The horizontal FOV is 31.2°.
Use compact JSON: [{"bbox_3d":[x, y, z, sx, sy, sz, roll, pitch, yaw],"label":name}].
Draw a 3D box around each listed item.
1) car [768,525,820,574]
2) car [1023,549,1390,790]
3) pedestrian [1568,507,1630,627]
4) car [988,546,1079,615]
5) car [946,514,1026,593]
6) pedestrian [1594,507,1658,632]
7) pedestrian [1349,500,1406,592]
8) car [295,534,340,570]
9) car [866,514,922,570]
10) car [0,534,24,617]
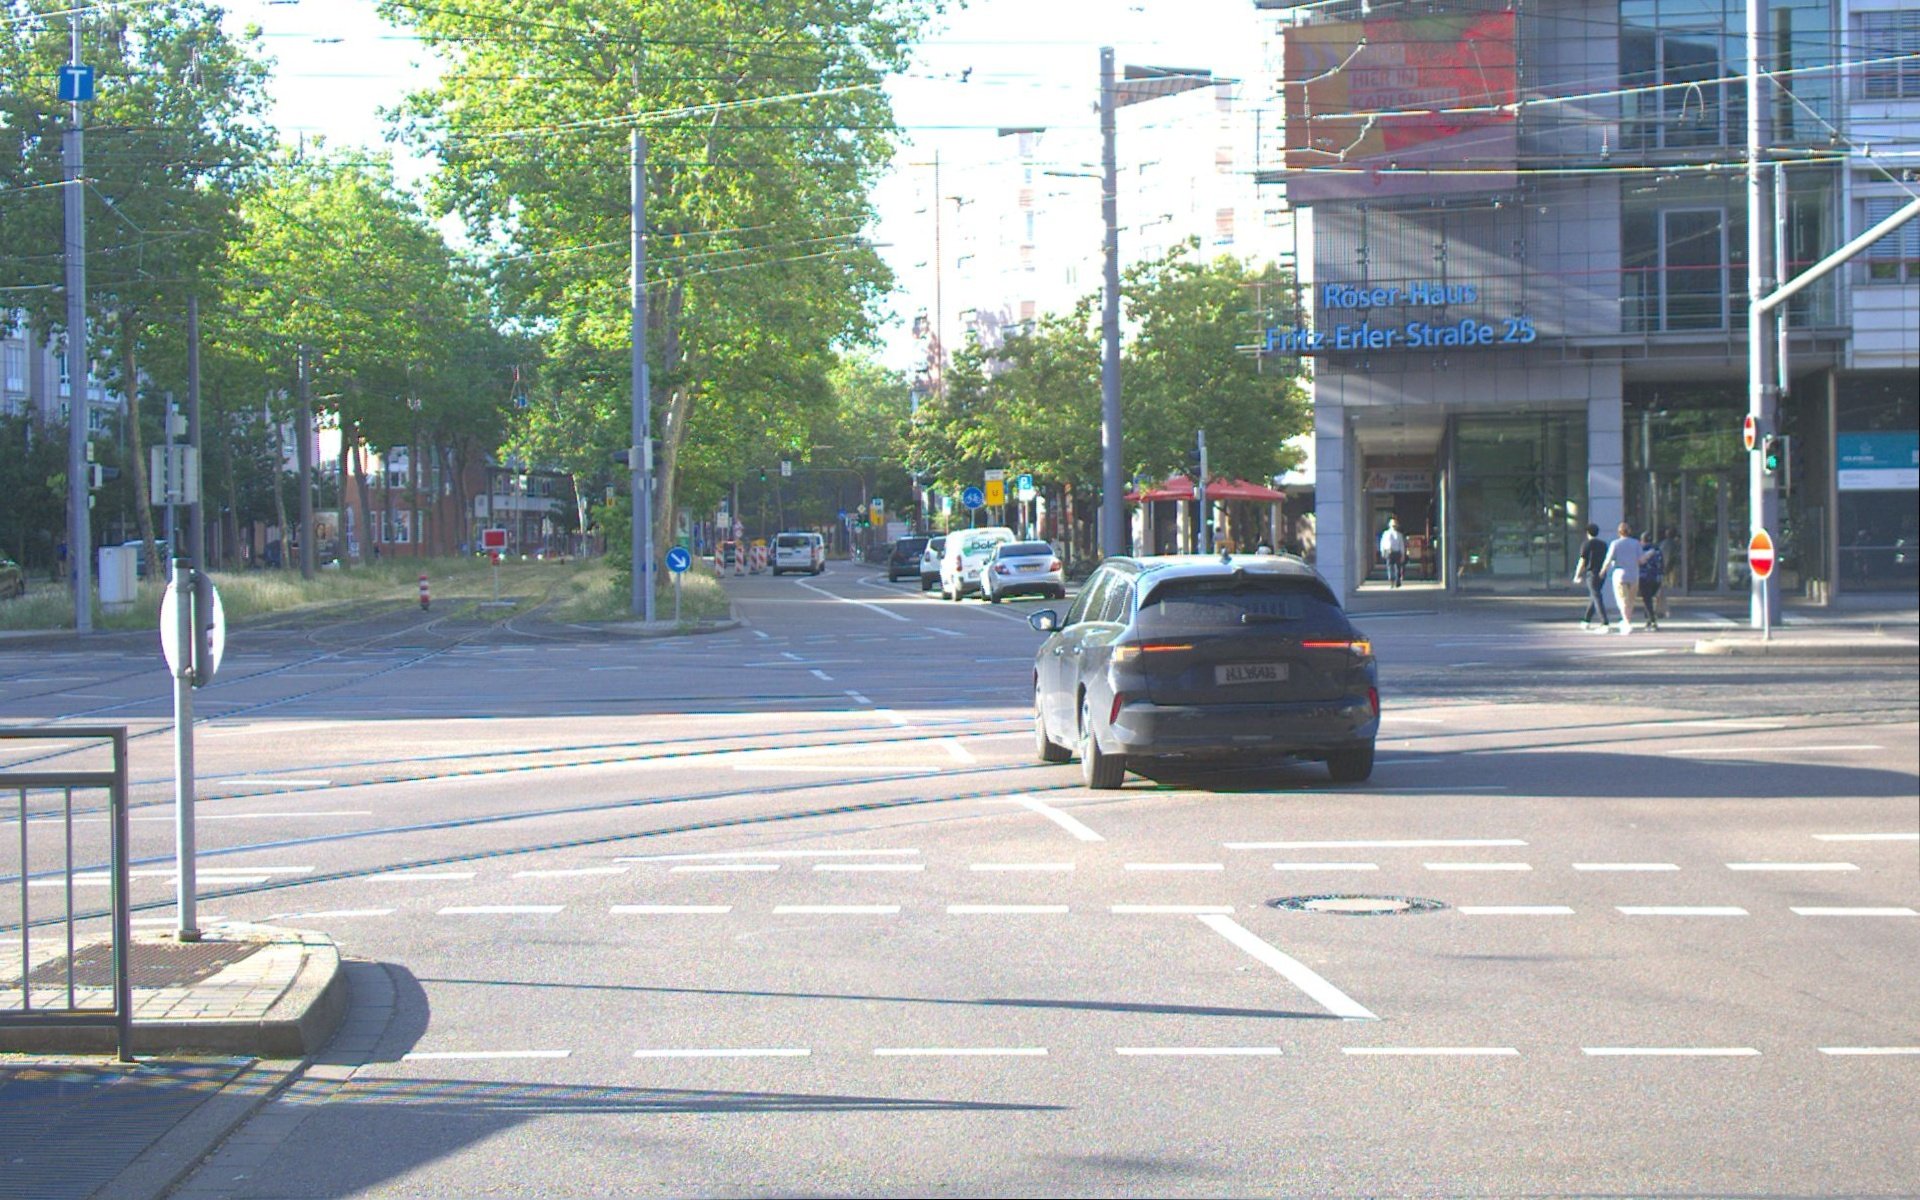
[{"bbox_3d":[-7.220,-2.184,150.078,1.993,2.007,4.000,1,-1,1],"label":"car"},{"bbox_3d":[1.491,0.378,22.342,1.763,1.399,4.297,0,1,-4],"label":"car"},{"bbox_3d":[10.779,-0.559,58.042,0.849,2.007,0.708,1,0,-4],"label":"pedestrian"},{"bbox_3d":[1.741,-0.481,82.828,2.029,1.590,4.000,1,1,-1],"label":"car"},{"bbox_3d":[0.655,-1.207,89.659,1.993,2.007,4.000,1,1,-1],"label":"car"},{"bbox_3d":[10.895,-0.501,56.268,0.869,2.007,0.794,1,0,-1],"label":"pedestrian"},{"bbox_3d":[9.975,-1.285,82.183,1.313,2.182,1.170,1,0,6],"label":"pedestrian"},{"bbox_3d":[-29.158,-2.161,156.137,1.676,1.601,4.001,1,1,-6],"label":"car"},{"bbox_3d":[-2.405,-2.125,126.624,1.993,2.007,4.000,1,1,-1],"label":"car"},{"bbox_3d":[-21.639,-0.528,74.829,1.822,1.784,4.001,-1,1,-7],"label":"car"}]
